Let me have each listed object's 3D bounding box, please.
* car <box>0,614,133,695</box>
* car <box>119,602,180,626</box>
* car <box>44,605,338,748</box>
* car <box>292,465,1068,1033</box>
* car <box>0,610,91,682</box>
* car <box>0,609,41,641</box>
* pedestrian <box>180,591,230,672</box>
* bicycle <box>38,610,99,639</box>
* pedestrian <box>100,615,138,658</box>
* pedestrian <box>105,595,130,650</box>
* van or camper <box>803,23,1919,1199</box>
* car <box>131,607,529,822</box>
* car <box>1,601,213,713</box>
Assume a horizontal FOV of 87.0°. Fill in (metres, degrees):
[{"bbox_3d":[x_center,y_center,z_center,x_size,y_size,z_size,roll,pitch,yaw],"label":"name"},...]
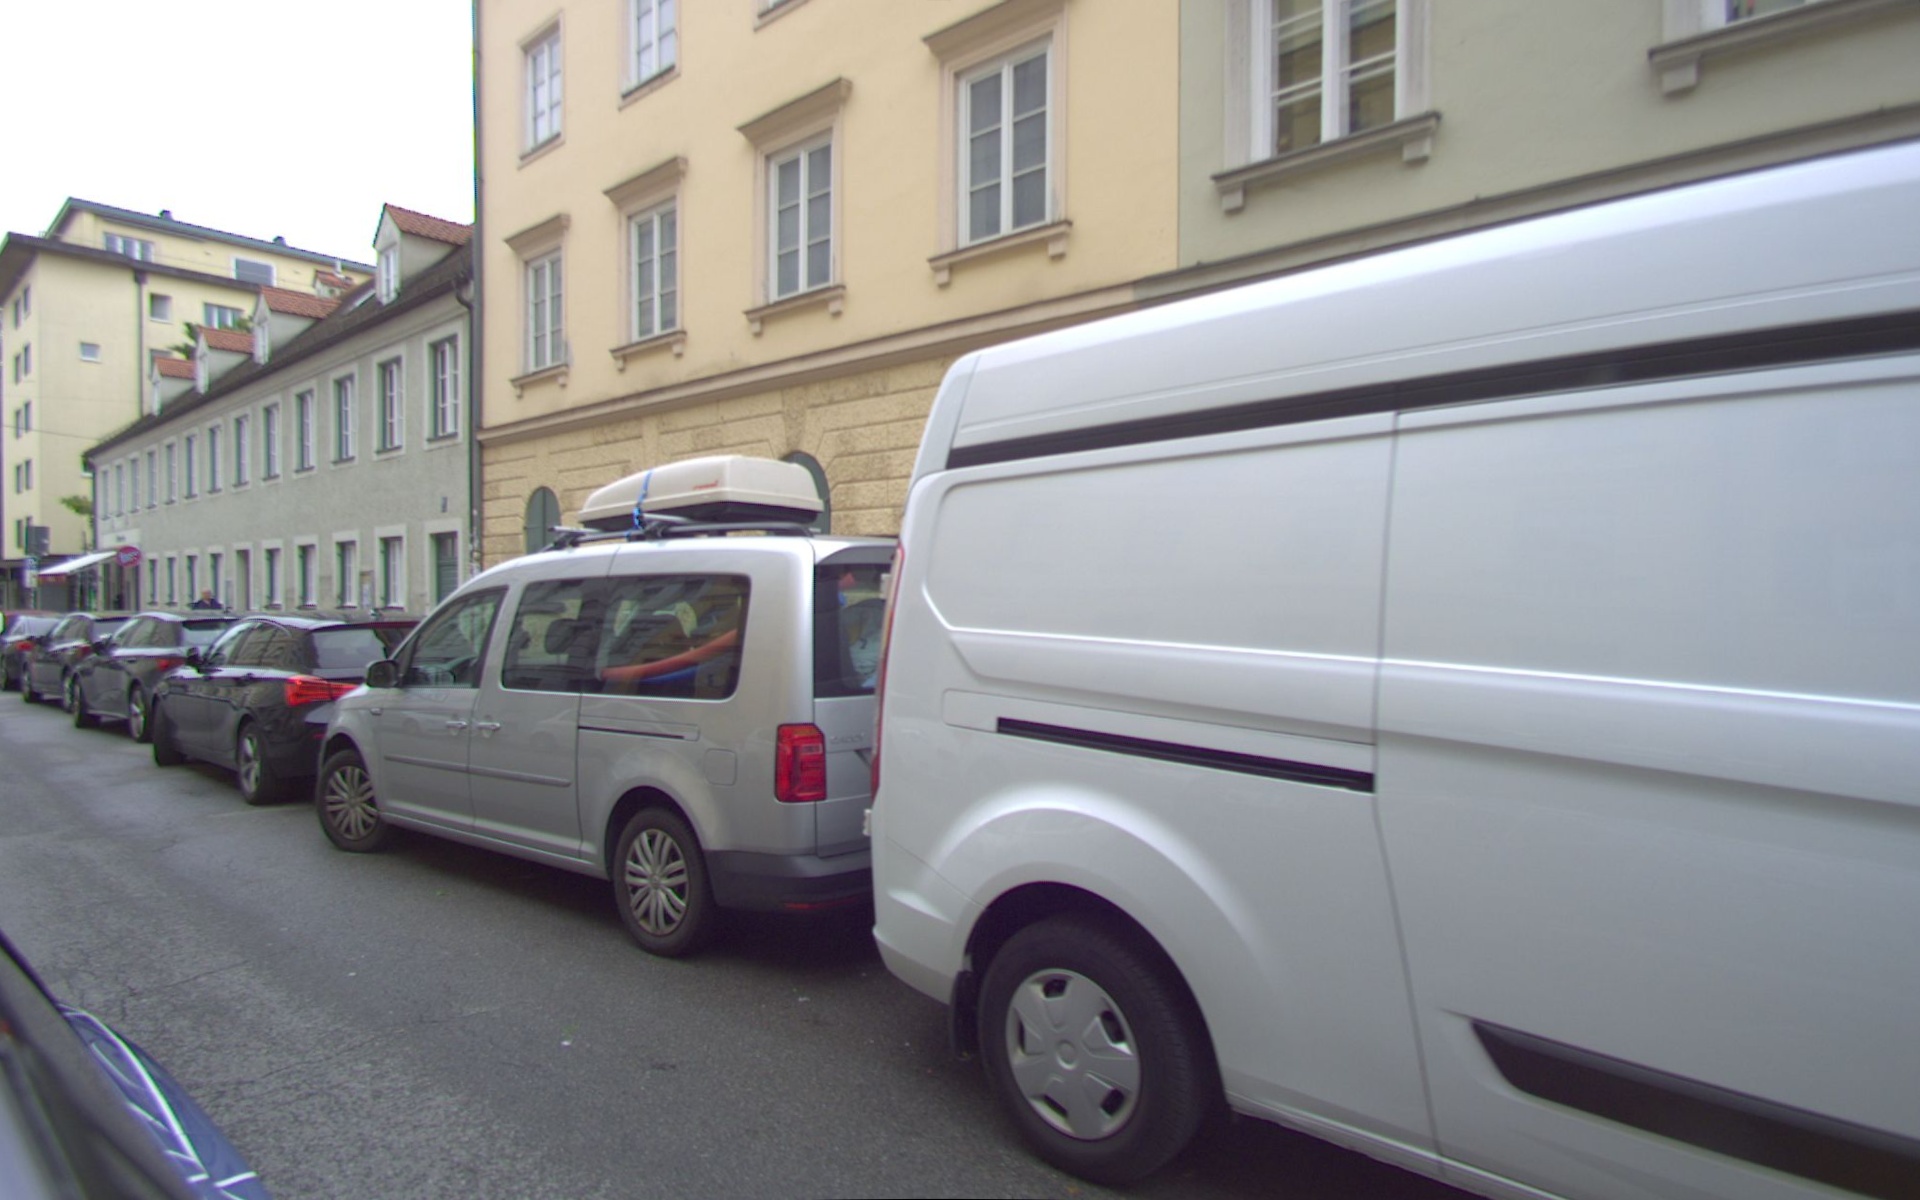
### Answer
[{"bbox_3d":[-17.810,0.995,19.720,4.681,1.349,1.780,-1,0,40],"label":"car"},{"bbox_3d":[-74.071,1.269,92.524,3.900,2.120,1.911,-1,1,-18],"label":"car"},{"bbox_3d":[-9.381,0.818,12.246,4.125,1.452,1.799,-1,-1,37],"label":"car"},{"bbox_3d":[-1.834,0.531,5.672,4.617,2.010,1.738,0,0,37],"label":"car"},{"bbox_3d":[-21.486,1.006,23.143,3.709,1.486,1.738,-1,1,38],"label":"car"},{"bbox_3d":[-62.583,1.618,65.415,1.926,2.016,4.382,1,1,26],"label":"car"},{"bbox_3d":[-18.426,0.749,24.694,0.827,1.912,0.814,1,0,40],"label":"pedestrian"},{"bbox_3d":[-36.059,0.985,40.963,0.392,1.042,1.798,-2,1,43],"label":"bicycle"},{"bbox_3d":[-26.076,1.121,31.385,0.693,1.300,0.795,1,0,41],"label":"pedestrian"},{"bbox_3d":[-28.065,0.729,33.714,0.877,1.795,0.523,1,0,41],"label":"pedestrian"},{"bbox_3d":[2.093,0.285,2.077,5.269,2.298,1.737,0,0,40],"label":"van or camper"},{"bbox_3d":[-5.608,0.786,8.803,4.099,1.419,1.737,0,0,40],"label":"car"},{"bbox_3d":[-13.386,0.785,15.808,4.195,1.507,1.738,0,0,38],"label":"car"}]
